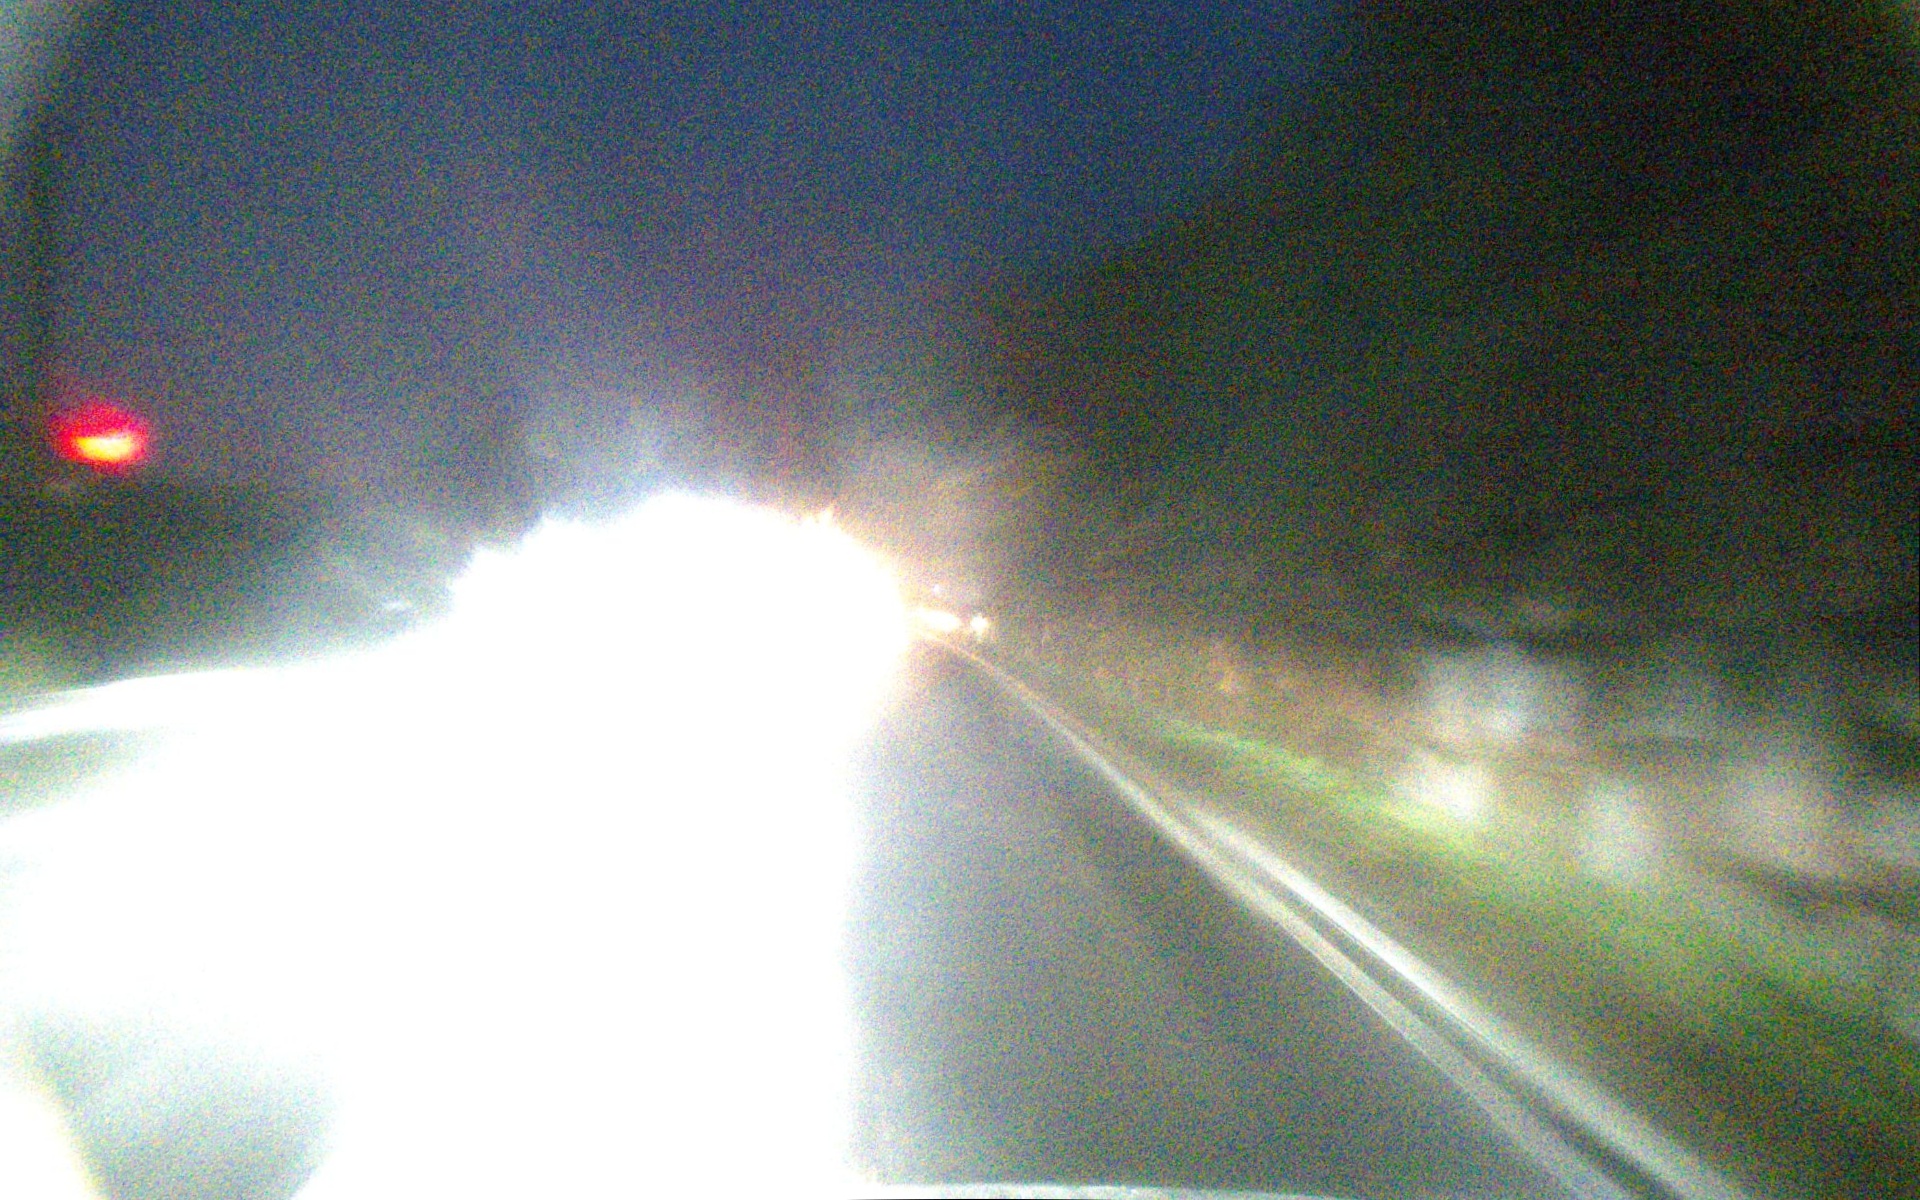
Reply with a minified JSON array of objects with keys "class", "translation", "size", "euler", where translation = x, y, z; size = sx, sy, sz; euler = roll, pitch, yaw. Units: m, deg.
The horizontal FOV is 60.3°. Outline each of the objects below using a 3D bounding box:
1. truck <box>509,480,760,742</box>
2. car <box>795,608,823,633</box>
[{"class":"truck","translation":[-3.559,0.102,19.137],"size":[2.094,2.579,5.275],"euler":[1,0,-3]},{"class":"car","translation":[-10.613,1.432,116.411],"size":[1.883,1.674,4.021],"euler":[0,0,-5]}]
